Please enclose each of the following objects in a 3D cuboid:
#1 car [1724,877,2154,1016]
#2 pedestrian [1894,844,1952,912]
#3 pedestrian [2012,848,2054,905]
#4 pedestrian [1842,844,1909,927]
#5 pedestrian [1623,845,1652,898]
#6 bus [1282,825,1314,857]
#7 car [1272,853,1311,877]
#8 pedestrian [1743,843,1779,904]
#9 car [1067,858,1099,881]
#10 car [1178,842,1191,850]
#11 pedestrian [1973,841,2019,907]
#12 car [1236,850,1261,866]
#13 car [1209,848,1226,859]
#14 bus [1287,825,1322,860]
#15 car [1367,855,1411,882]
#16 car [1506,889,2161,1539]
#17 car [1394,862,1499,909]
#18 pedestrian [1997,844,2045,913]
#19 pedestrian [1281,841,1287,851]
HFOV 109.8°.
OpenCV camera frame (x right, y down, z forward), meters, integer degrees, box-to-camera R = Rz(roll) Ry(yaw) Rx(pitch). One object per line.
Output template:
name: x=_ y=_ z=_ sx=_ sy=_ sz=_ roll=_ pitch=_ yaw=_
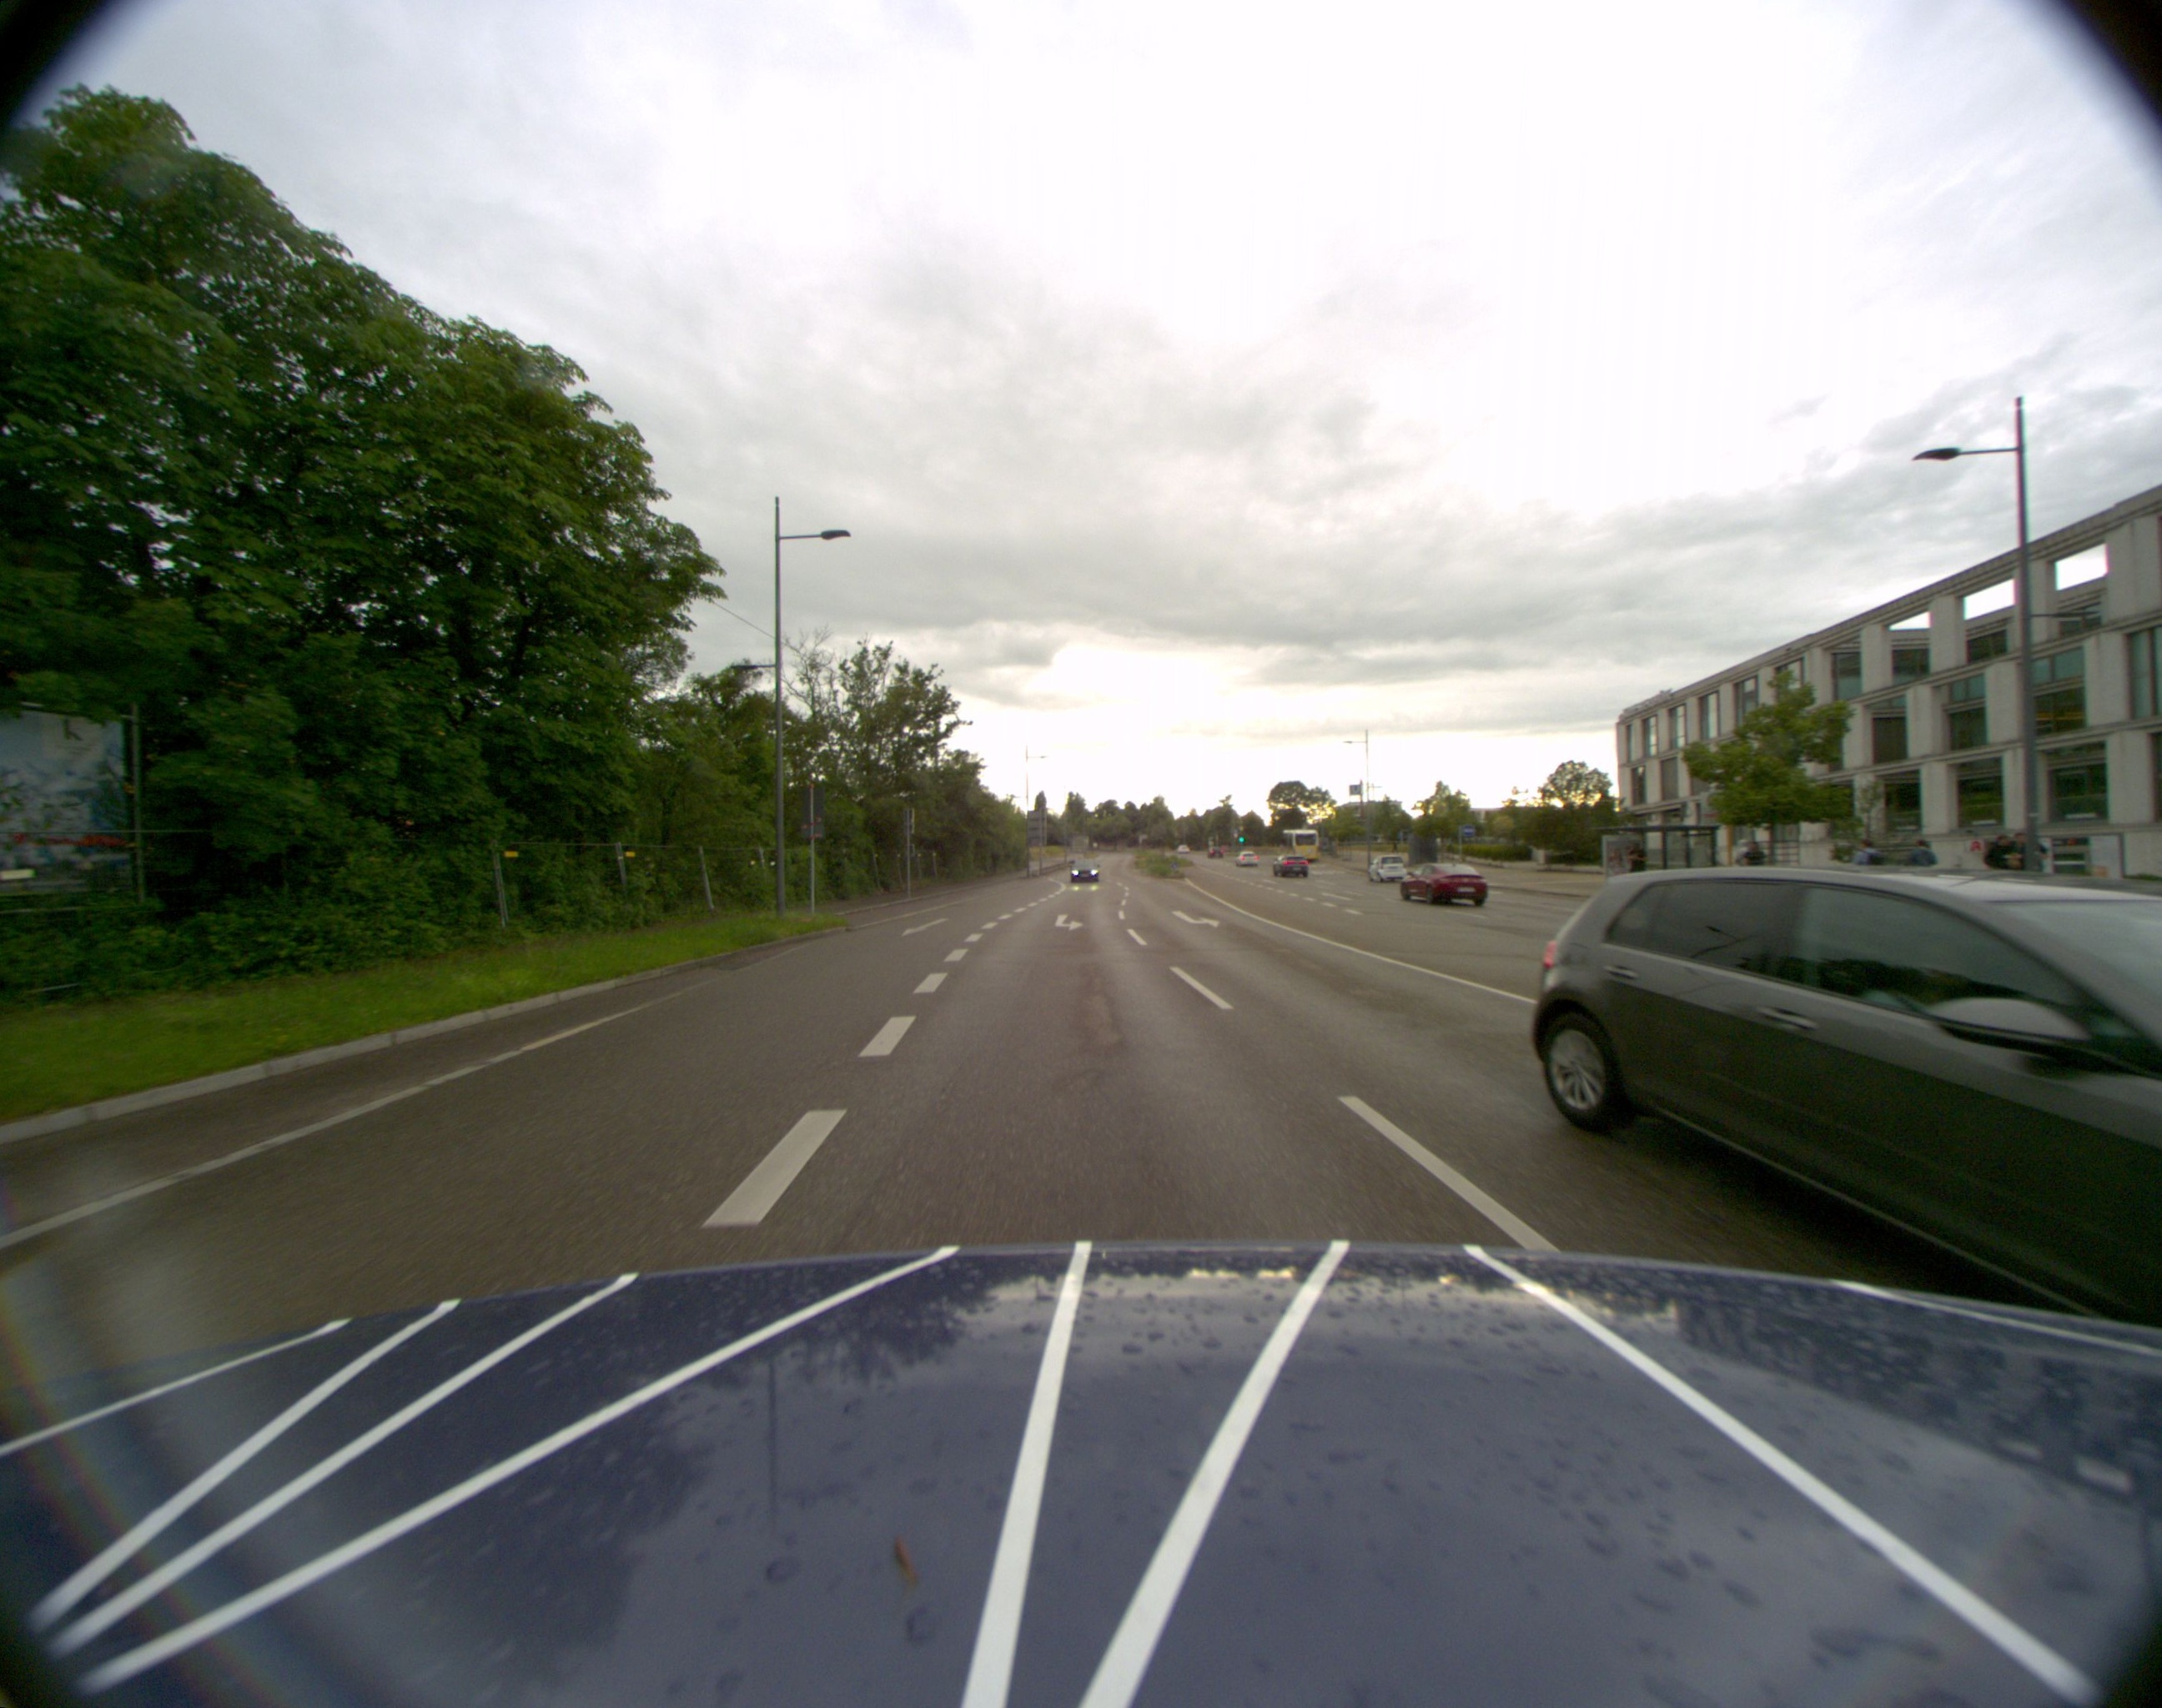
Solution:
car: x=11.464 y=1.121 z=10.657 sx=1.766 sy=1.408 sz=3.880 roll=2 pitch=0 yaw=4
pedestrian: x=22.336 y=0.622 z=20.173 sx=0.599 sy=1.752 sz=0.857 roll=-1 pitch=1 yaw=7
pedestrian: x=24.645 y=0.582 z=19.676 sx=0.427 sy=1.443 sz=0.510 roll=-1 pitch=1 yaw=5
pedestrian: x=18.053 y=0.704 z=17.279 sx=0.754 sy=1.831 sz=0.747 roll=-1 pitch=1 yaw=7
pedestrian: x=19.806 y=0.613 z=27.036 sx=0.508 sy=1.831 sz=0.755 roll=-1 pitch=1 yaw=4
bus: x=26.078 y=-1.660 z=91.661 sx=2.826 sy=3.453 sz=9.979 roll=-2 pitch=2 yaw=12
car: x=15.121 y=0.743 z=54.816 sx=1.835 sy=1.563 sz=4.594 roll=2 pitch=1 yaw=4
pedestrian: x=21.042 y=0.596 z=23.509 sx=0.581 sy=1.845 sz=0.607 roll=-1 pitch=1 yaw=2
car: x=0.098 y=1.011 z=49.669 sx=1.990 sy=1.391 sz=4.176 roll=-1 pitch=0 yaw=0
car: x=19.039 y=-1.480 z=139.793 sx=1.998 sy=1.410 sz=4.513 roll=-1 pitch=1 yaw=4
pedestrian: x=24.125 y=0.528 z=20.047 sx=0.525 sy=1.715 sz=0.566 roll=-1 pitch=1 yaw=7
car: x=16.949 y=0.412 z=77.121 sx=1.877 sy=1.422 sz=4.176 roll=2 pitch=1 yaw=4
car: x=18.524 y=-0.087 z=103.278 sx=1.850 sy=1.454 sz=3.867 roll=0 pitch=1 yaw=4
bus: x=24.232 y=-1.309 z=82.724 sx=2.826 sy=3.453 sz=8.235 roll=-2 pitch=2 yaw=12
car: x=18.404 y=0.848 z=45.541 sx=1.617 sy=1.499 sz=2.973 roll=-2 pitch=1 yaw=4
car: x=3.498 y=0.948 z=2.447 sx=1.810 sy=1.421 sz=4.196 roll=1 pitch=0 yaw=-1
car: x=12.846 y=1.051 z=27.057 sx=1.835 sy=1.408 sz=4.467 roll=2 pitch=0 yaw=4
pedestrian: x=23.617 y=0.603 z=19.097 sx=0.427 sy=1.715 sz=0.621 roll=-1 pitch=1 yaw=5
pedestrian: x=31.753 y=-1.221 z=118.811 sx=0.616 sy=1.584 sz=0.813 roll=-1 pitch=-1 yaw=0
